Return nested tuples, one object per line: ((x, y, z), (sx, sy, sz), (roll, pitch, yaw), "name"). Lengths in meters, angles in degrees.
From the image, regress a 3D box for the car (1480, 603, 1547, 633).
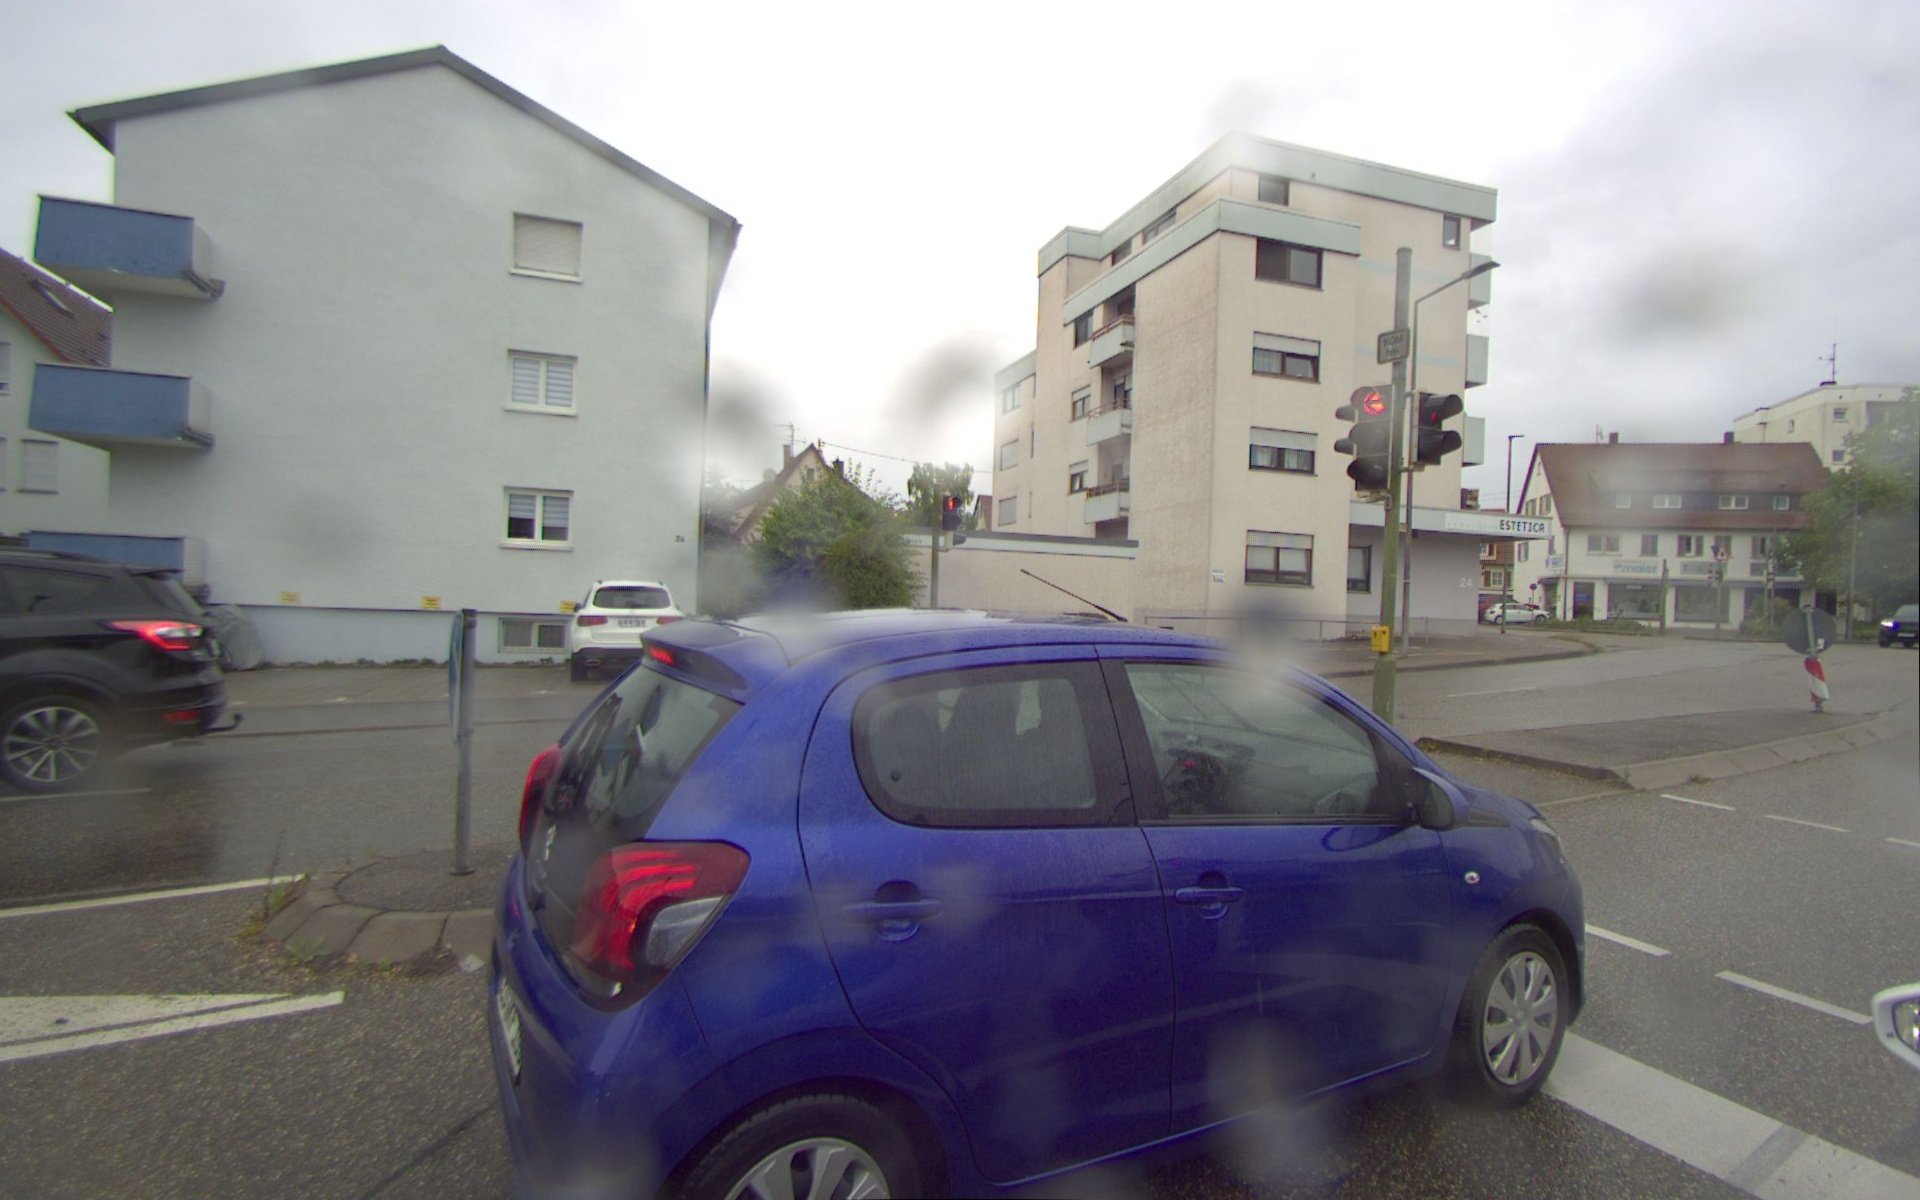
((37.924, 1.238, 68.894), (3.611, 1.946, 1.889), (2, 0, 14), "car")

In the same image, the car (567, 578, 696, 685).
((-5.755, 0.504, 17.570), (1.884, 1.637, 3.982), (2, 0, -19), "car")

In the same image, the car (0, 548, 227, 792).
((-7.678, 0.452, 6.900), (4.140, 1.618, 1.868), (1, -1, -34), "car")

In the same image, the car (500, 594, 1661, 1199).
((0.478, 0.732, 3.096), (3.324, 1.432, 1.498), (1, 1, -30), "car")

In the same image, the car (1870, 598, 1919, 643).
((39.982, 0.894, 41.945), (5.132, 1.760, 1.979), (2, 0, -37), "car")

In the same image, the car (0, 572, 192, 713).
((-11.472, 0.450, 12.500), (1.854, 1.480, 4.732), (1, -1, -23), "car")

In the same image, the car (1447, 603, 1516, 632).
((37.217, 1.243, 71.725), (3.987, 1.868, 1.889), (2, 0, 14), "car")
